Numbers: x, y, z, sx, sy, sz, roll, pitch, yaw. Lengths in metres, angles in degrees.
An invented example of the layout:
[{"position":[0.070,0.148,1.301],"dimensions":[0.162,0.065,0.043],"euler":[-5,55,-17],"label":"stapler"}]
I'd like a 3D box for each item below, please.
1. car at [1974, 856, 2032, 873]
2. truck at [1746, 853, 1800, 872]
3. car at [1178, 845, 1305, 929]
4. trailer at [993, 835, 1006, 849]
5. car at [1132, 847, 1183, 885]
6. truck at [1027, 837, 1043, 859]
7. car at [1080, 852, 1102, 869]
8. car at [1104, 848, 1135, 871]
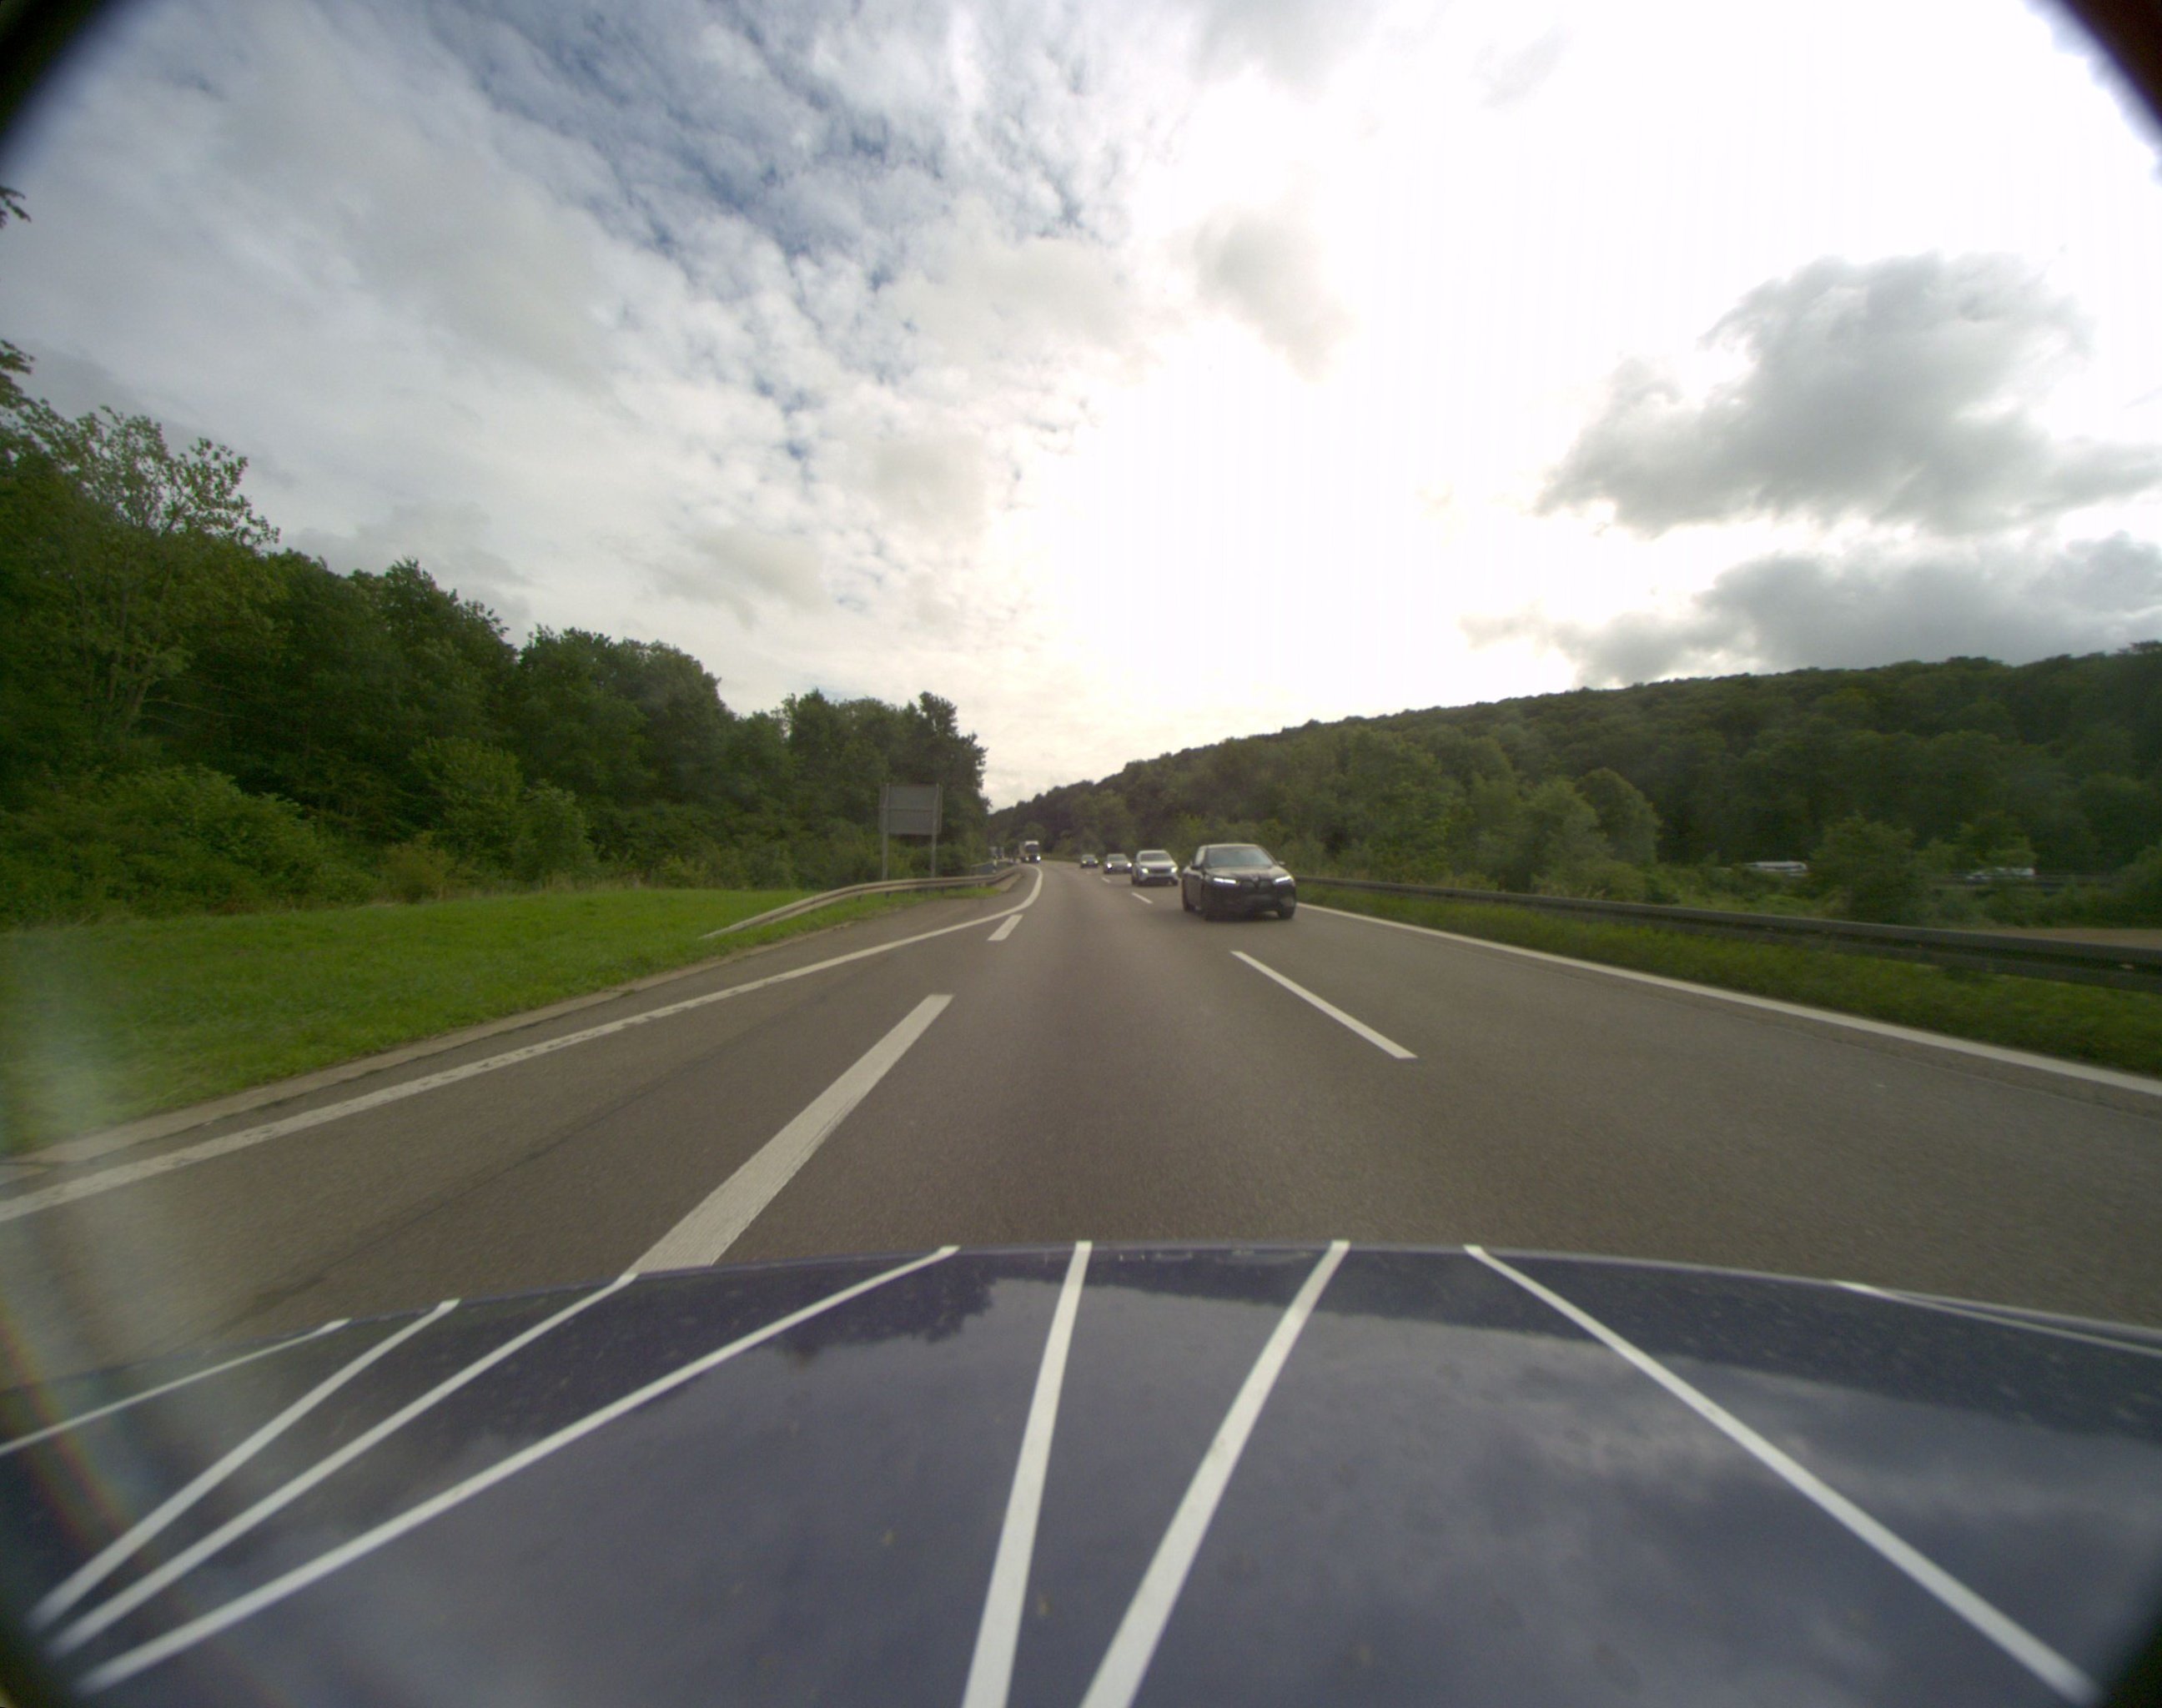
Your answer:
[{"position":[116.051,1.331,95.698],"dimensions":[2.005,1.798,4.444],"euler":[3,1,-42],"label":"car"},{"position":[104.296,1.226,114.583],"dimensions":[2.369,2.452,5.714],"euler":[2,1,-42],"label":"truck"},{"position":[3.631,0.665,18.037],"dimensions":[1.999,1.656,4.414],"euler":[-2,1,0],"label":"car"},{"position":[-24.560,-3.566,229.629],"dimensions":[2.789,3.932,11.282],"euler":[-1,1,-12],"label":"trailer"},{"position":[3.568,0.513,36.214],"dimensions":[1.998,1.656,4.414],"euler":[-1,1,0],"label":"car"},{"position":[-8.427,-1.128,139.601],"dimensions":[2.796,3.949,5.936],"euler":[-1,1,-4],"label":"truck"},{"position":[1.100,0.708,85.378],"dimensions":[1.999,1.656,4.412],"euler":[-1,2,-4],"label":"car"},{"position":[2.834,0.382,57.294],"dimensions":[1.999,1.656,4.413],"euler":[-1,1,-1],"label":"car"}]
